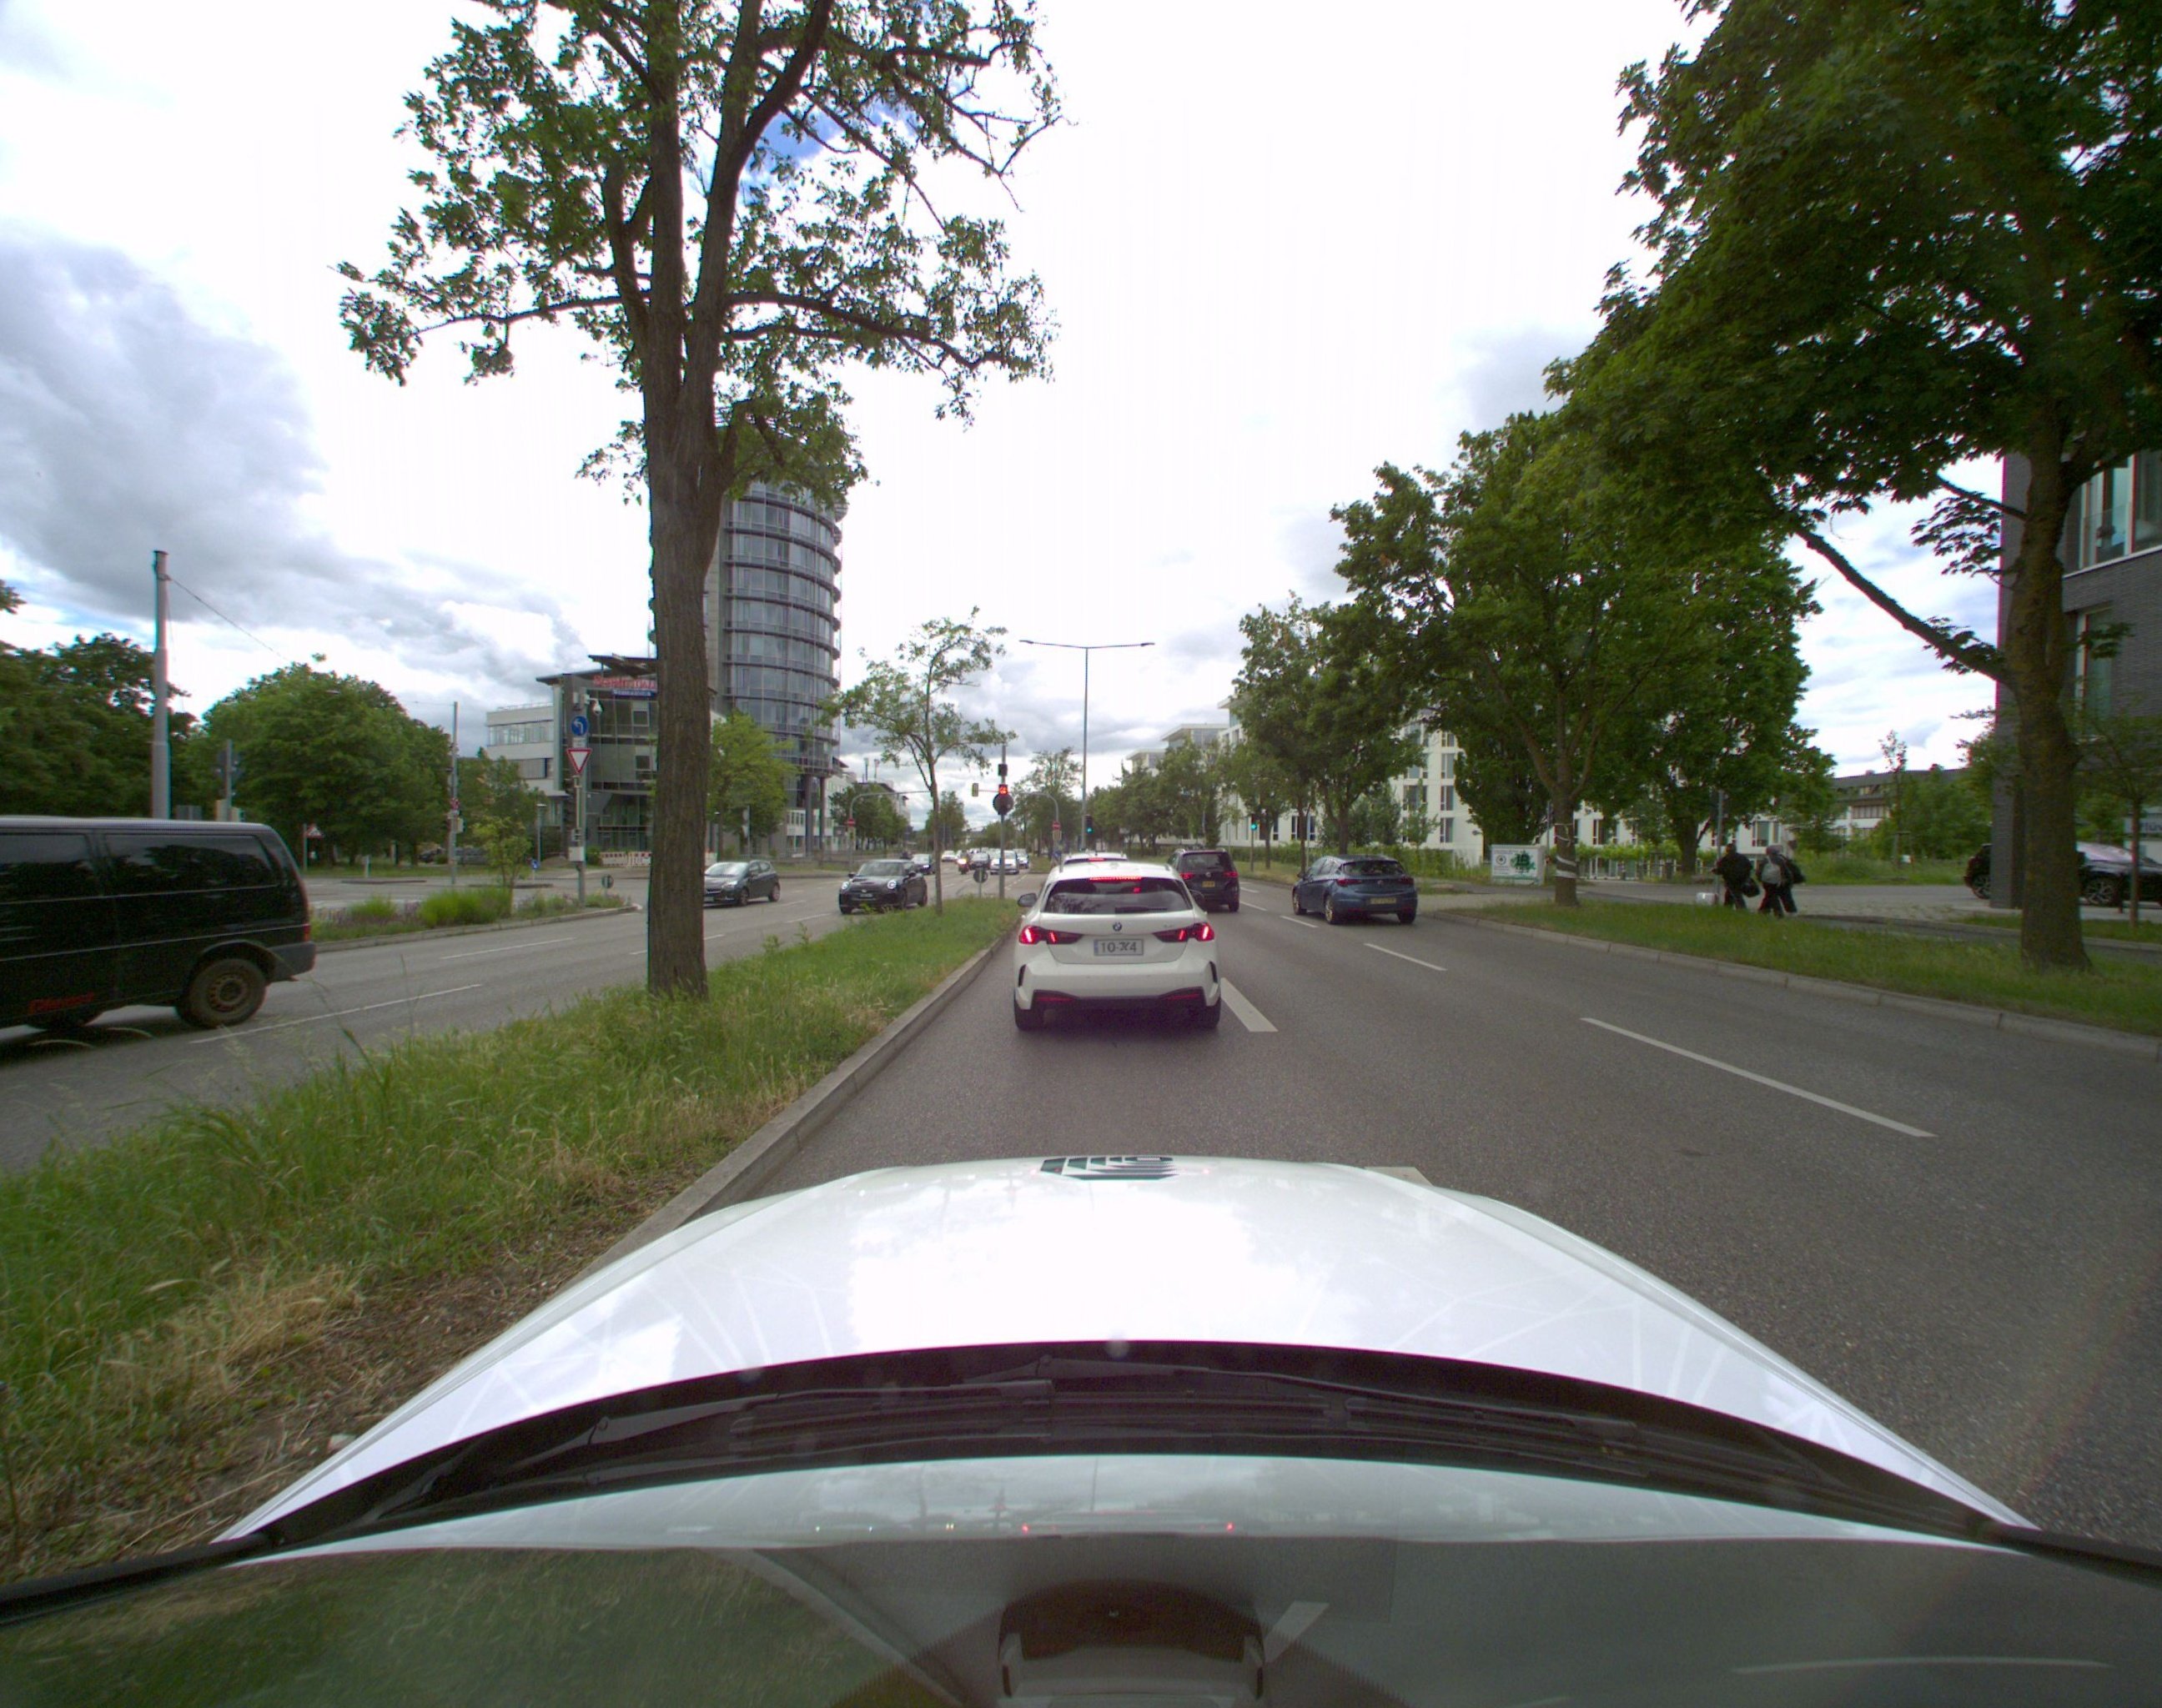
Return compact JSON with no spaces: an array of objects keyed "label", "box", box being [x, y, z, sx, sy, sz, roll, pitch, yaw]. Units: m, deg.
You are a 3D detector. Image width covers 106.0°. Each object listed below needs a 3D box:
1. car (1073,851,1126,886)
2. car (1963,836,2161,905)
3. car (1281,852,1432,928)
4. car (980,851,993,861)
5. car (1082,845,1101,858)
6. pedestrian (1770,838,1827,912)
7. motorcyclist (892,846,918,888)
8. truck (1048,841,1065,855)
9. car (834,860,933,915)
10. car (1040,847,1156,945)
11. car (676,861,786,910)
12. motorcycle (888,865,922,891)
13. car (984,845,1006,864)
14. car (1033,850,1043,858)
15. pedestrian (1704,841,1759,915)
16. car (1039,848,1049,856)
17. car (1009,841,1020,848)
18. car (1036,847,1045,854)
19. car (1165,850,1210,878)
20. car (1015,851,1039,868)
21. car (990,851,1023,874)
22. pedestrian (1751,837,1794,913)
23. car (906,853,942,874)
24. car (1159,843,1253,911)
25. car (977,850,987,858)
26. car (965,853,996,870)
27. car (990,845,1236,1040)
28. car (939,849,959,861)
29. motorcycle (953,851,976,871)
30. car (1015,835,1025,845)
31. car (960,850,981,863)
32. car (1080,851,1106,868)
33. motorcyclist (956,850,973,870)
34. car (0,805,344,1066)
[{"label":"car","box":[0.920,0.647,37.286,1.983,1.508,4.008,0,0,7]},{"label":"car","box":[24.919,0.369,20.161,1.817,1.552,4.183,0,0,4]},{"label":"car","box":[5.998,0.704,18.304,1.960,1.439,4.313,-2,0,1]},{"label":"car","box":[-18.291,0.385,157.882,1.988,2.011,4.322,0,0,-1]},{"label":"car","box":[1.362,-0.325,105.509,1.992,1.596,3.990,0,0,-7]},{"label":"pedestrian","box":[15.262,0.437,17.336,0.586,1.552,0.745,0,0,7]},{"label":"motorcyclist","box":[-7.810,0.566,36.101,0.845,1.837,1.260,0,0,2]},{"label":"truck","box":[-4.617,-1.087,154.305,2.855,2.519,6.275,0,0,-6]},{"label":"car","box":[-5.461,0.872,22.967,1.747,1.371,3.781,-1,0,2]},{"label":"car","box":[0.393,0.730,15.966,1.985,1.672,4.003,0,0,3]},{"label":"car","box":[-11.270,0.958,26.532,1.701,1.419,4.020,-1,0,2]},{"label":"motorcycle","box":[-7.795,1.037,36.130,0.835,1.064,2.654,0,0,2]},{"label":"car","box":[-9.620,0.063,91.625,1.986,2.013,4.001,0,0,1]},{"label":"car","box":[-10.477,0.071,199.176,1.986,2.013,4.002,0,0,2]},{"label":"pedestrian","box":[13.872,0.498,17.369,0.721,1.552,0.588,0,0,7]},{"label":"car","box":[-7.744,-0.438,170.718,1.991,1.508,3.993,0,0,-5]},{"label":"car","box":[-15.594,-2.150,191.894,1.986,1.618,4.002,2,0,2]},{"label":"car","box":[-10.063,-0.858,200.860,1.991,1.508,3.991,0,0,-7]},{"label":"car","box":[5.930,0.527,45.694,1.789,1.472,4.696,0,0,-2]},{"label":"car","box":[-4.592,0.483,69.986,1.661,1.405,4.002,0,0,2]},{"label":"car","box":[-4.983,0.558,54.912,1.701,1.497,3.804,-1,0,2]},{"label":"pedestrian","box":[14.531,0.433,17.125,0.407,1.552,0.563,3,-1,7]},{"label":"car","box":[-11.046,0.649,57.443,1.701,1.419,3.804,-1,0,2]},{"label":"car","box":[3.319,0.568,22.450,1.960,1.640,4.313,-1,0,1]},{"label":"car","box":[-23.517,-0.046,193.112,1.988,2.011,4.322,0,0,-1]},{"label":"car","box":[-8.270,0.590,67.503,1.986,1.354,4.002,0,0,2]},{"label":"car","box":[0.386,0.673,8.145,1.855,1.449,4.004,0,0,4]},{"label":"car","box":[-16.826,0.130,103.839,1.701,1.419,3.804,-1,0,2]},{"label":"motorcycle","box":[-8.075,0.469,56.801,0.886,1.398,4.002,0,0,2]},{"label":"car","box":[-13.104,-2.955,174.836,1.988,2.011,4.322,2,0,-1]},{"label":"car","box":[-12.518,0.310,92.608,1.701,1.419,3.804,-1,0,2]},{"label":"car","box":[1.101,0.533,78.981,2.049,1.486,4.967,-4,1,-3]},{"label":"motorcyclist","box":[-8.090,0.406,56.755,0.906,1.392,1.674,0,0,2]},{"label":"car","box":[-8.919,0.627,6.198,1.928,1.918,4.975,-2,0,2]}]
